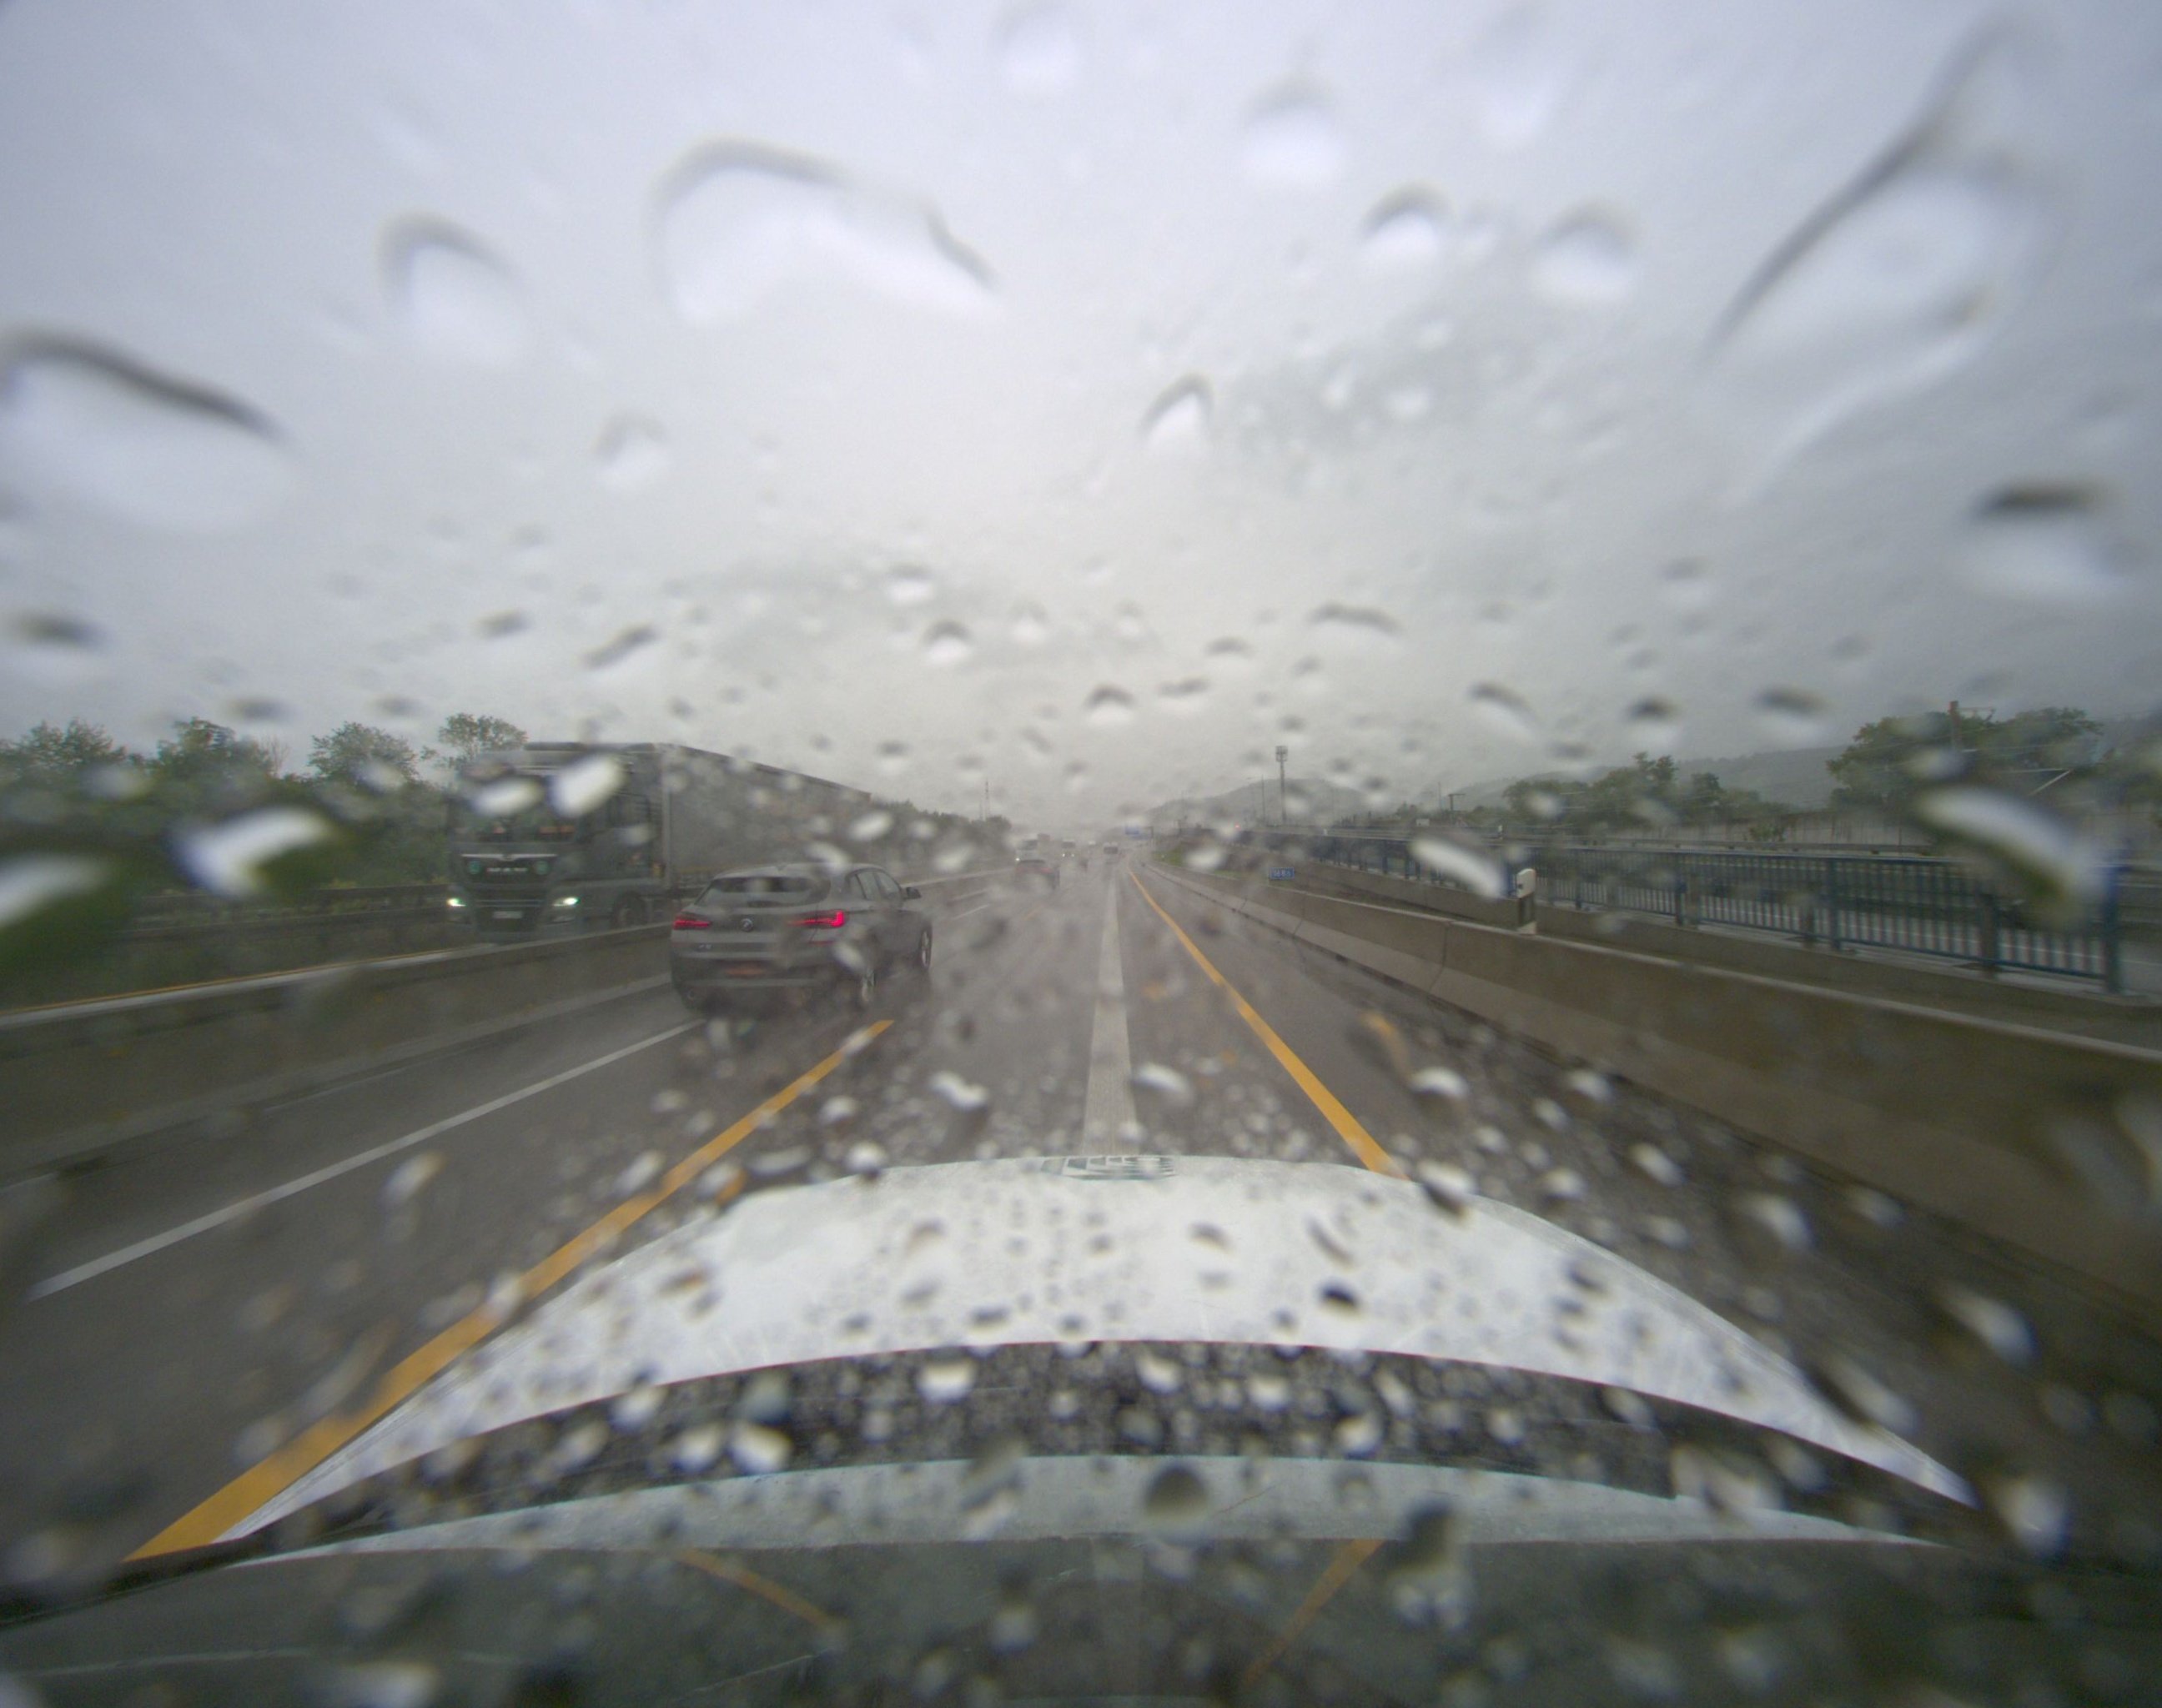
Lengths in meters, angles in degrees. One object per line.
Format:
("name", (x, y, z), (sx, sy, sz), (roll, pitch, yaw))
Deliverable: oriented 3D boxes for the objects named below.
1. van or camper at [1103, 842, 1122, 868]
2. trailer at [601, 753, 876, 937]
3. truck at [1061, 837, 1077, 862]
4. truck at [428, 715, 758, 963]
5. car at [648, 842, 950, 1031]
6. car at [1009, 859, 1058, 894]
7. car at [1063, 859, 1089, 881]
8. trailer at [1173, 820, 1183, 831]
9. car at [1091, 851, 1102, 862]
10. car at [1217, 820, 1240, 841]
("van or camper", (3.412, 0.185, 89.659), (1.989, 2.777, 4.050), (-1, -1, 1))
("trailer", (-9.259, -0.113, 24.476), (2.640, 4.109, 12.320), (-1, -1, 2))
("truck", (-2.270, -0.866, 157.231), (2.549, 4.603, 6.457), (-1, -1, 3))
("truck", (-9.535, -0.215, 17.020), (2.632, 4.127, 6.698), (-1, -1, 2))
("car", (-2.844, 0.716, 9.498), (1.694, 1.598, 4.846), (-1, 0, 1))
("car", (-2.092, 0.995, 36.848), (1.837, 1.491, 4.262), (-1, -1, 1))
("car", (-0.381, 1.253, 64.332), (1.838, 1.491, 4.263), (-4, 0, 1))
("trailer", (23.548, -6.904, 198.326), (1.984, 2.106, 13.786), (-1, -1, 5))
("car", (2.246, 0.369, 117.829), (1.561, 1.480, 2.822), (-4, -1, 1))
("car", (16.683, -2.605, 92.255), (1.986, 2.142, 4.001), (-1, -1, 1))
